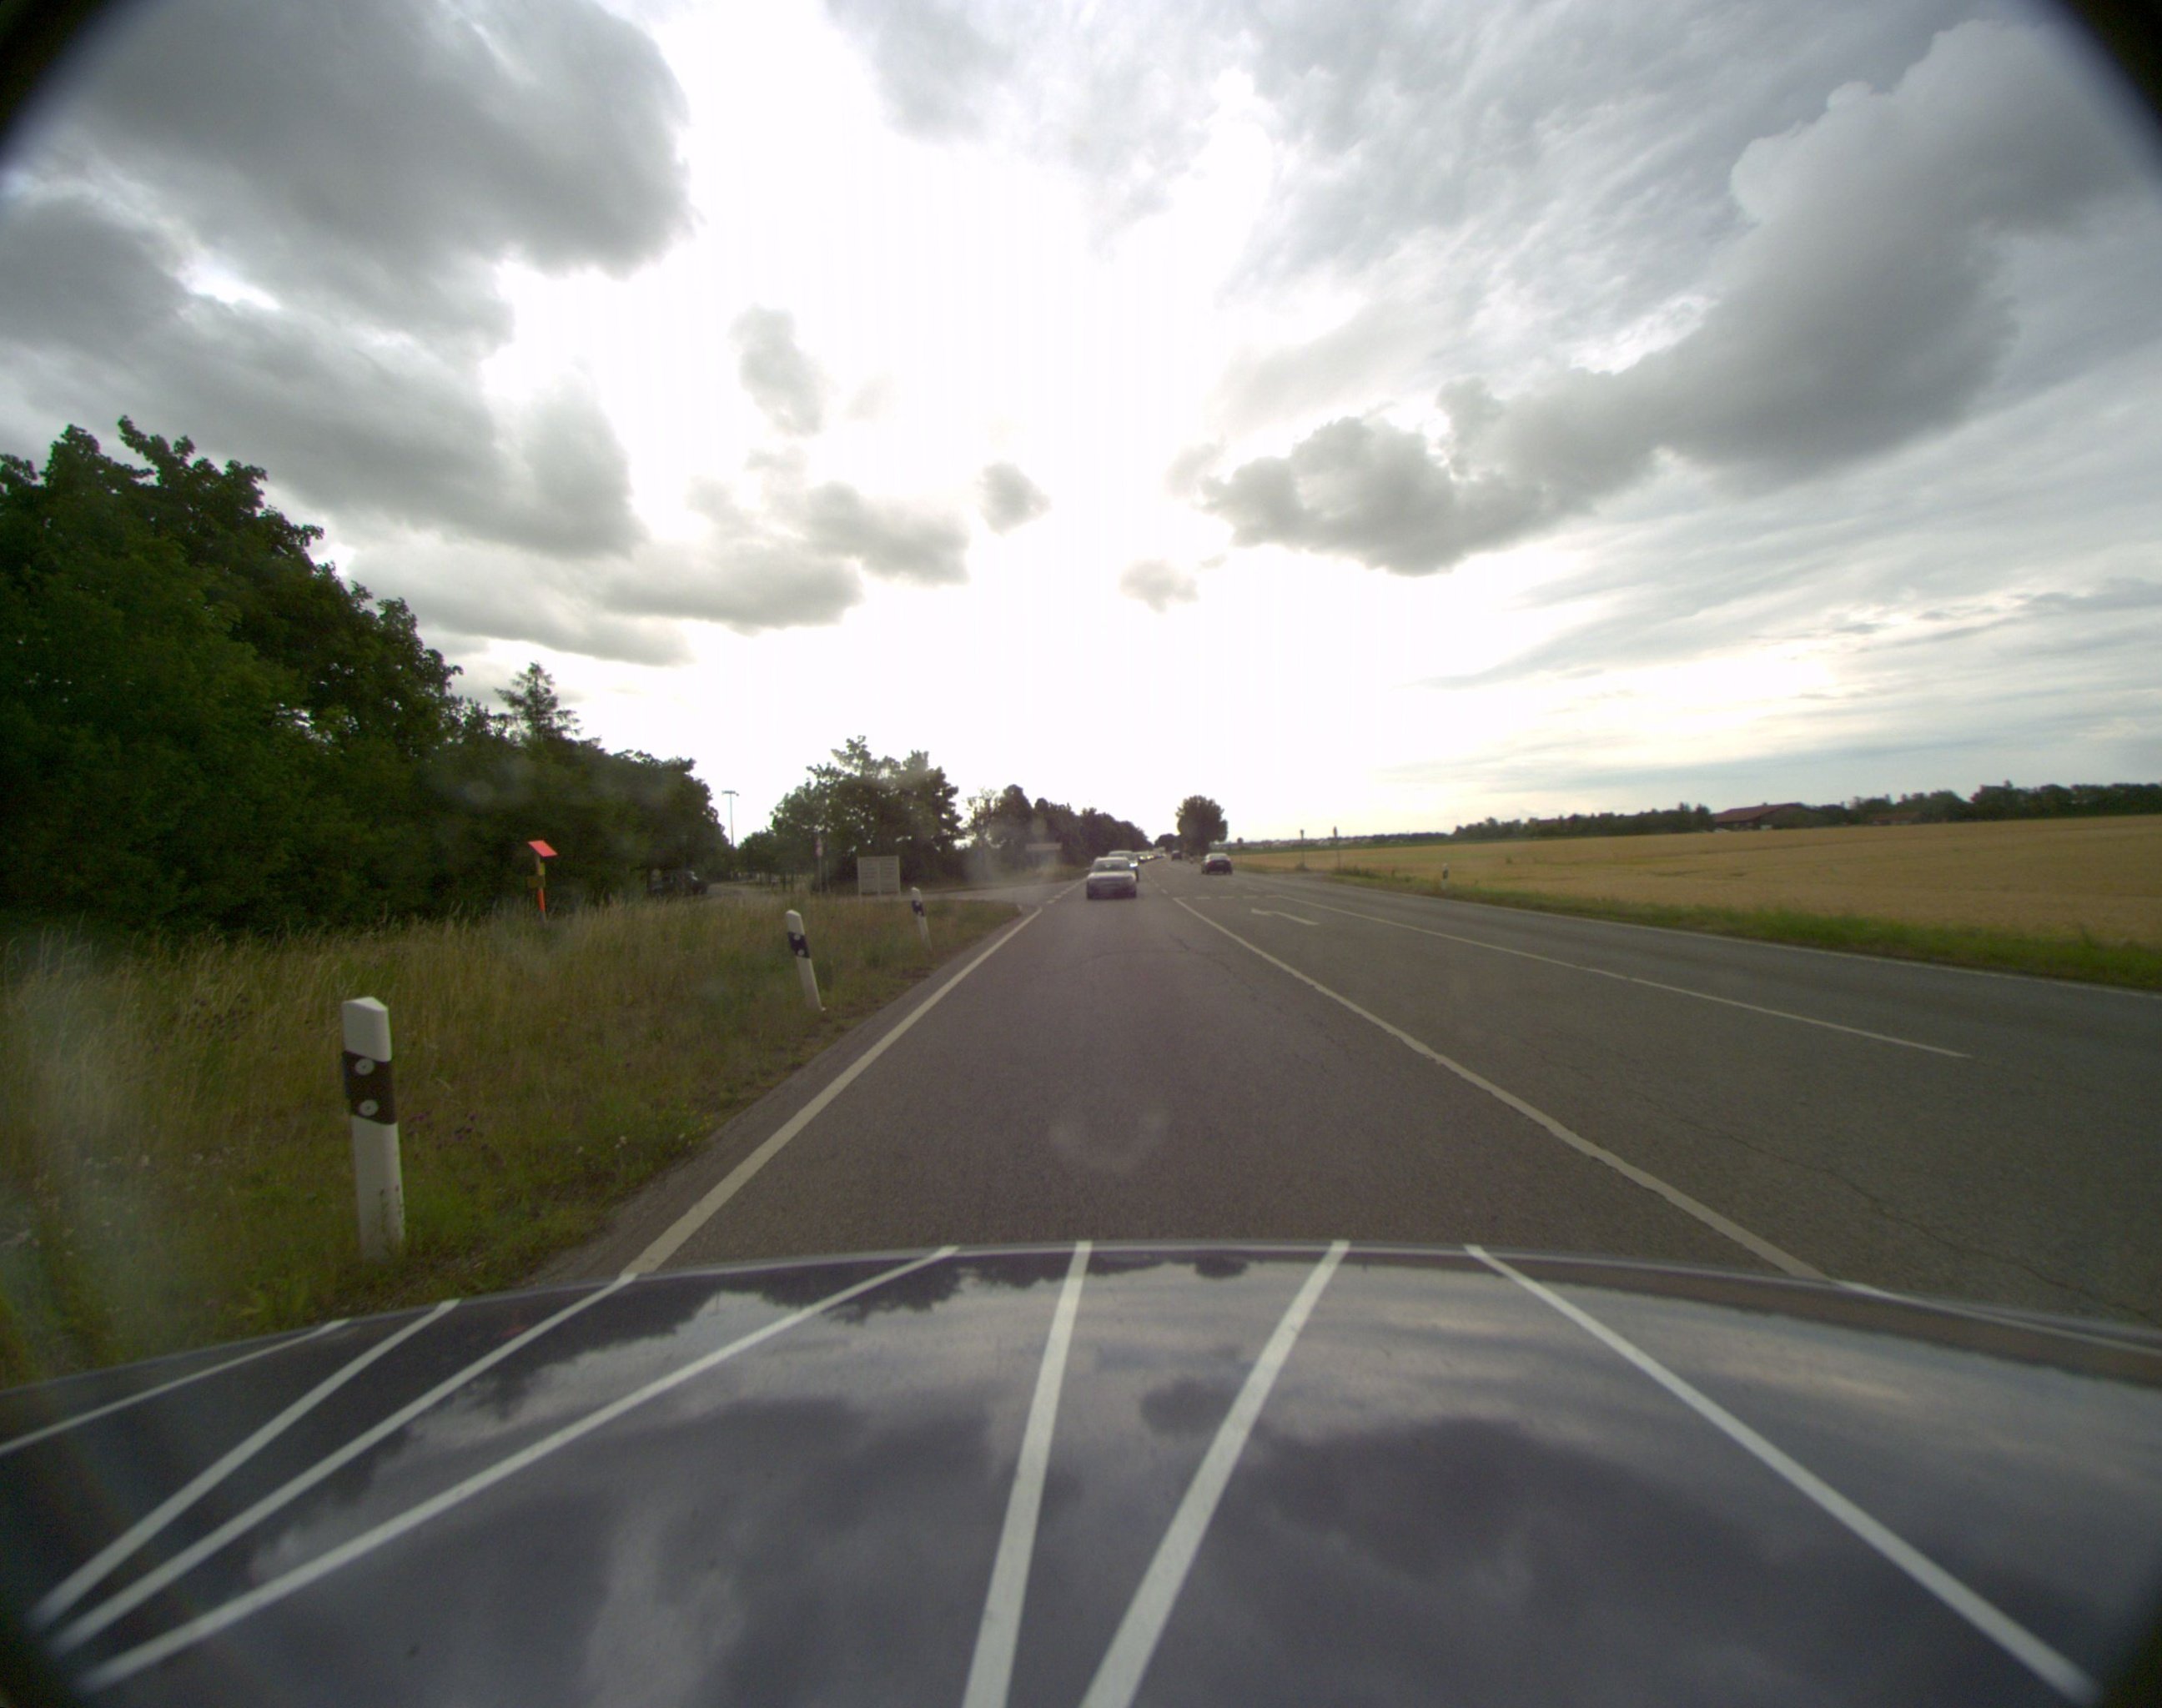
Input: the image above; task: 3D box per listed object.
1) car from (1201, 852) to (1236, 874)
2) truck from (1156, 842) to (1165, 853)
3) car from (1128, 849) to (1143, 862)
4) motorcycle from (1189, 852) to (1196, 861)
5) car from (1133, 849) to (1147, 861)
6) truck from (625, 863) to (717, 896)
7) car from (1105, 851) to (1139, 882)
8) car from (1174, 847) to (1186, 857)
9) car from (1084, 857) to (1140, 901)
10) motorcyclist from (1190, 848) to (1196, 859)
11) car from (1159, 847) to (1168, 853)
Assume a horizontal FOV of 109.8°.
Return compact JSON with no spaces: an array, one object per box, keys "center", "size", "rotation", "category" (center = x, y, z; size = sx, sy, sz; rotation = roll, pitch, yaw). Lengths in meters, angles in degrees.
[{"center":[9.478,0.612,52.750],"size":[1.831,1.402,4.424],"rotation":[-1,1,3],"category":"car"},{"center":[22.025,-1.793,209.747],"size":[2.319,2.749,7.676],"rotation":[-2,0,7],"category":"truck"},{"center":[6.961,0.233,97.528],"size":[1.793,1.573,4.369],"rotation":[-2,0,5],"category":"car"},{"center":[14.260,0.341,96.776],"size":[0.727,1.142,2.025],"rotation":[-2,0,5],"category":"motorcycle"},{"center":[8.635,0.151,111.065],"size":[1.793,1.573,4.188],"rotation":[-2,0,6],"category":"car"},{"center":[-44.305,2.673,82.458],"size":[8.382,3.092,3.067],"rotation":[-2,1,-24],"category":"truck"},{"center":[2.338,0.667,43.052],"size":[1.793,1.573,4.368],"rotation":[-2,0,4],"category":"car"},{"center":[17.627,-0.333,135.788],"size":[1.951,1.684,4.448],"rotation":[-1,0,6],"category":"car"},{"center":[1.220,0.861,27.943],"size":[1.793,1.415,4.369],"rotation":[-2,0,5],"category":"car"},{"center":[14.239,-0.064,96.710],"size":[0.641,1.376,0.809],"rotation":[-2,1,5],"category":"motorcyclist"},{"center":[20.654,-0.947,190.779],"size":[1.792,1.531,4.140],"rotation":[-2,0,12],"category":"car"}]
